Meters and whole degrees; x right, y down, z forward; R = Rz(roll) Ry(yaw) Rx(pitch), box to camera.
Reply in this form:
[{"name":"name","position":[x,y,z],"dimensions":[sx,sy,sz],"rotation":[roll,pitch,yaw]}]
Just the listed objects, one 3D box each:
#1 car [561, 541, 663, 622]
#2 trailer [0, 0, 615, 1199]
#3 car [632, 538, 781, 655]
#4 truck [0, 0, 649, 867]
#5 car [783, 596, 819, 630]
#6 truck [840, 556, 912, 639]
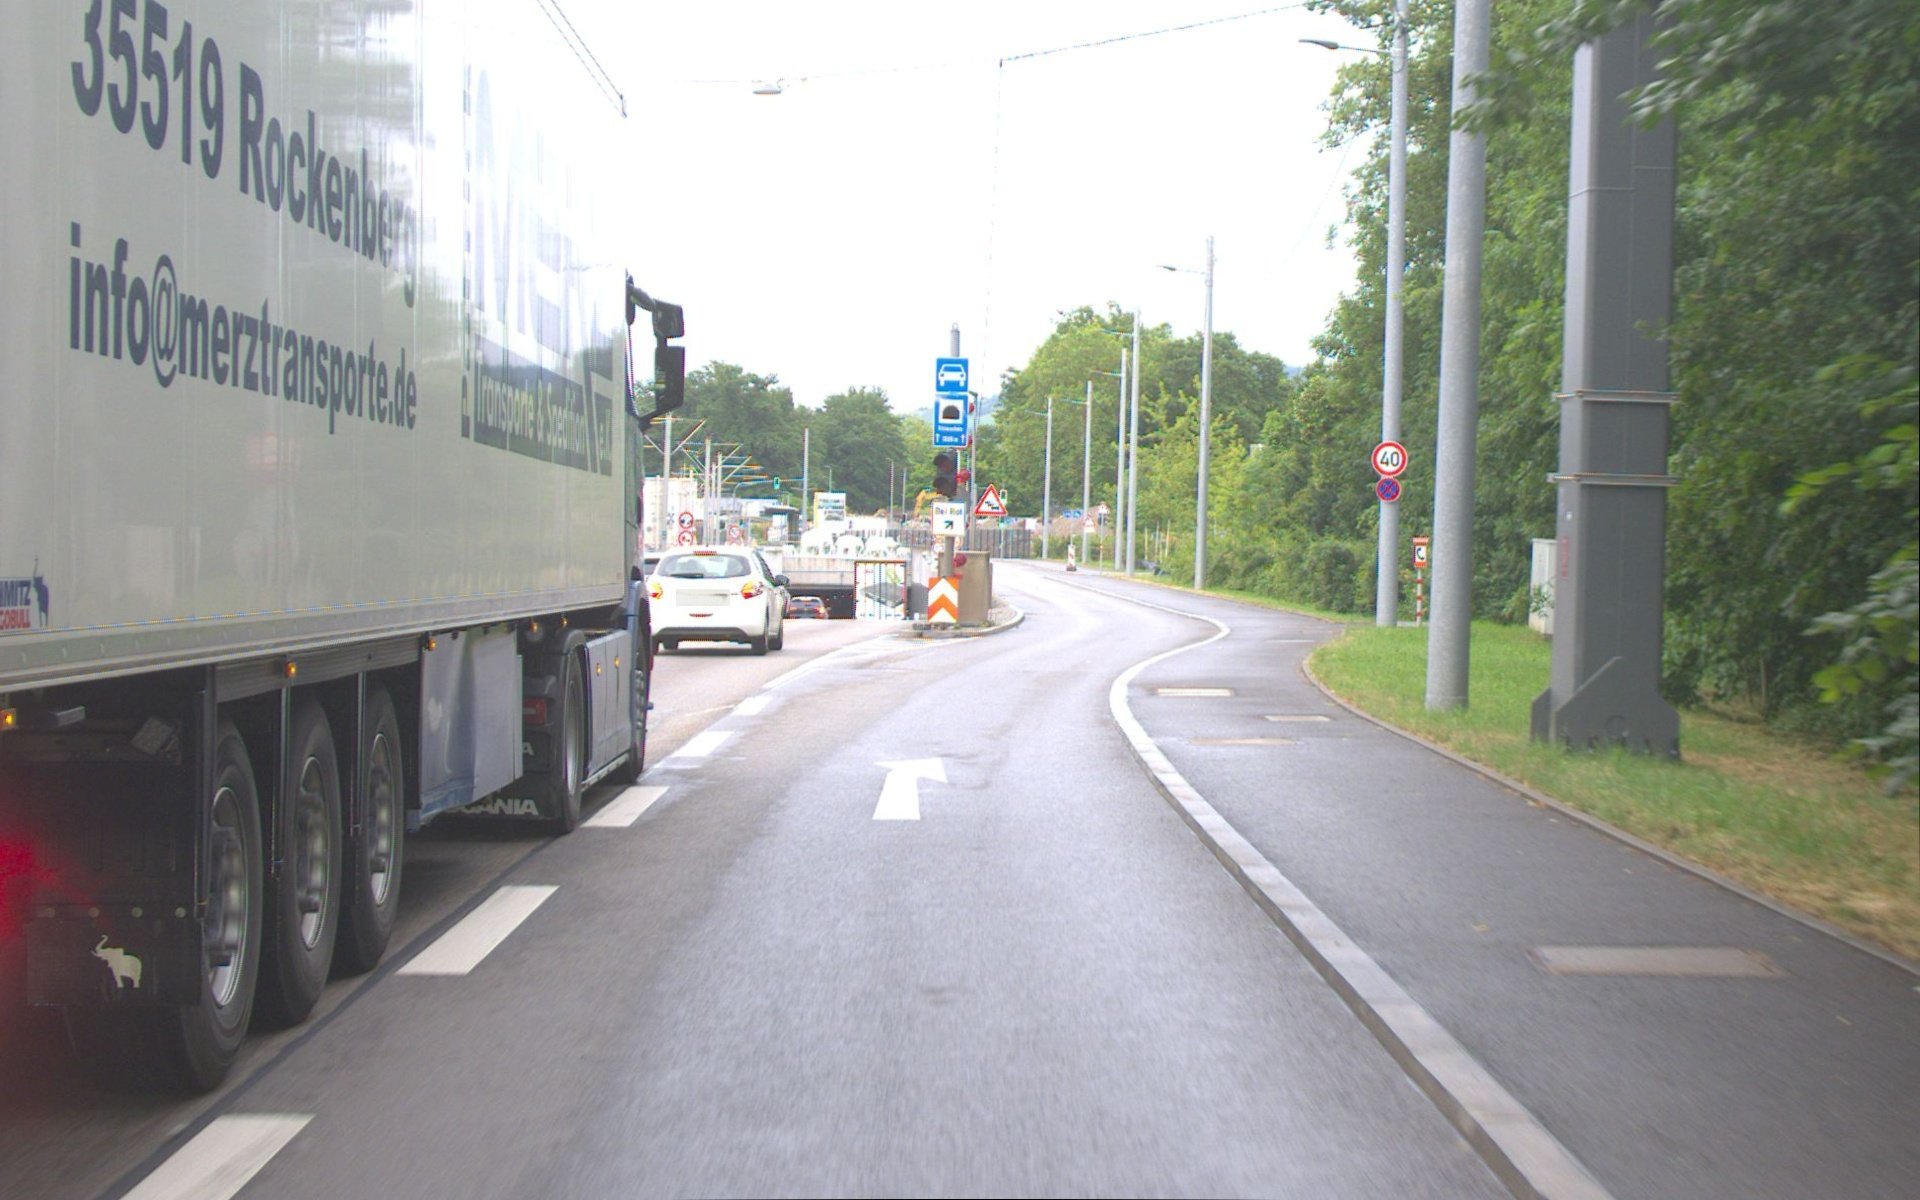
[{"name":"car","position":[-6.901,-0.391,68.456],"dimensions":[1.681,1.441,4.001],"rotation":[1,2,-1]},{"name":"trailer","position":[-3.236,-0.768,12.490],"dimensions":[2.762,4.238,13.184],"rotation":[0,1,-1]},{"name":"car","position":[-3.434,-0.085,47.090],"dimensions":[1.810,1.419,4.001],"rotation":[1,2,-1]},{"name":"truck","position":[-3.308,-0.954,18.606],"dimensions":[2.756,4.190,6.307],"rotation":[0,1,-1]},{"name":"car","position":[-6.676,0.540,144.837],"dimensions":[1.426,1.349,2.960],"rotation":[1,1,-1]},{"name":"truck","position":[-4.195,-0.137,172.532],"dimensions":[3.518,4.026,8.074],"rotation":[1,0,-1]}]
